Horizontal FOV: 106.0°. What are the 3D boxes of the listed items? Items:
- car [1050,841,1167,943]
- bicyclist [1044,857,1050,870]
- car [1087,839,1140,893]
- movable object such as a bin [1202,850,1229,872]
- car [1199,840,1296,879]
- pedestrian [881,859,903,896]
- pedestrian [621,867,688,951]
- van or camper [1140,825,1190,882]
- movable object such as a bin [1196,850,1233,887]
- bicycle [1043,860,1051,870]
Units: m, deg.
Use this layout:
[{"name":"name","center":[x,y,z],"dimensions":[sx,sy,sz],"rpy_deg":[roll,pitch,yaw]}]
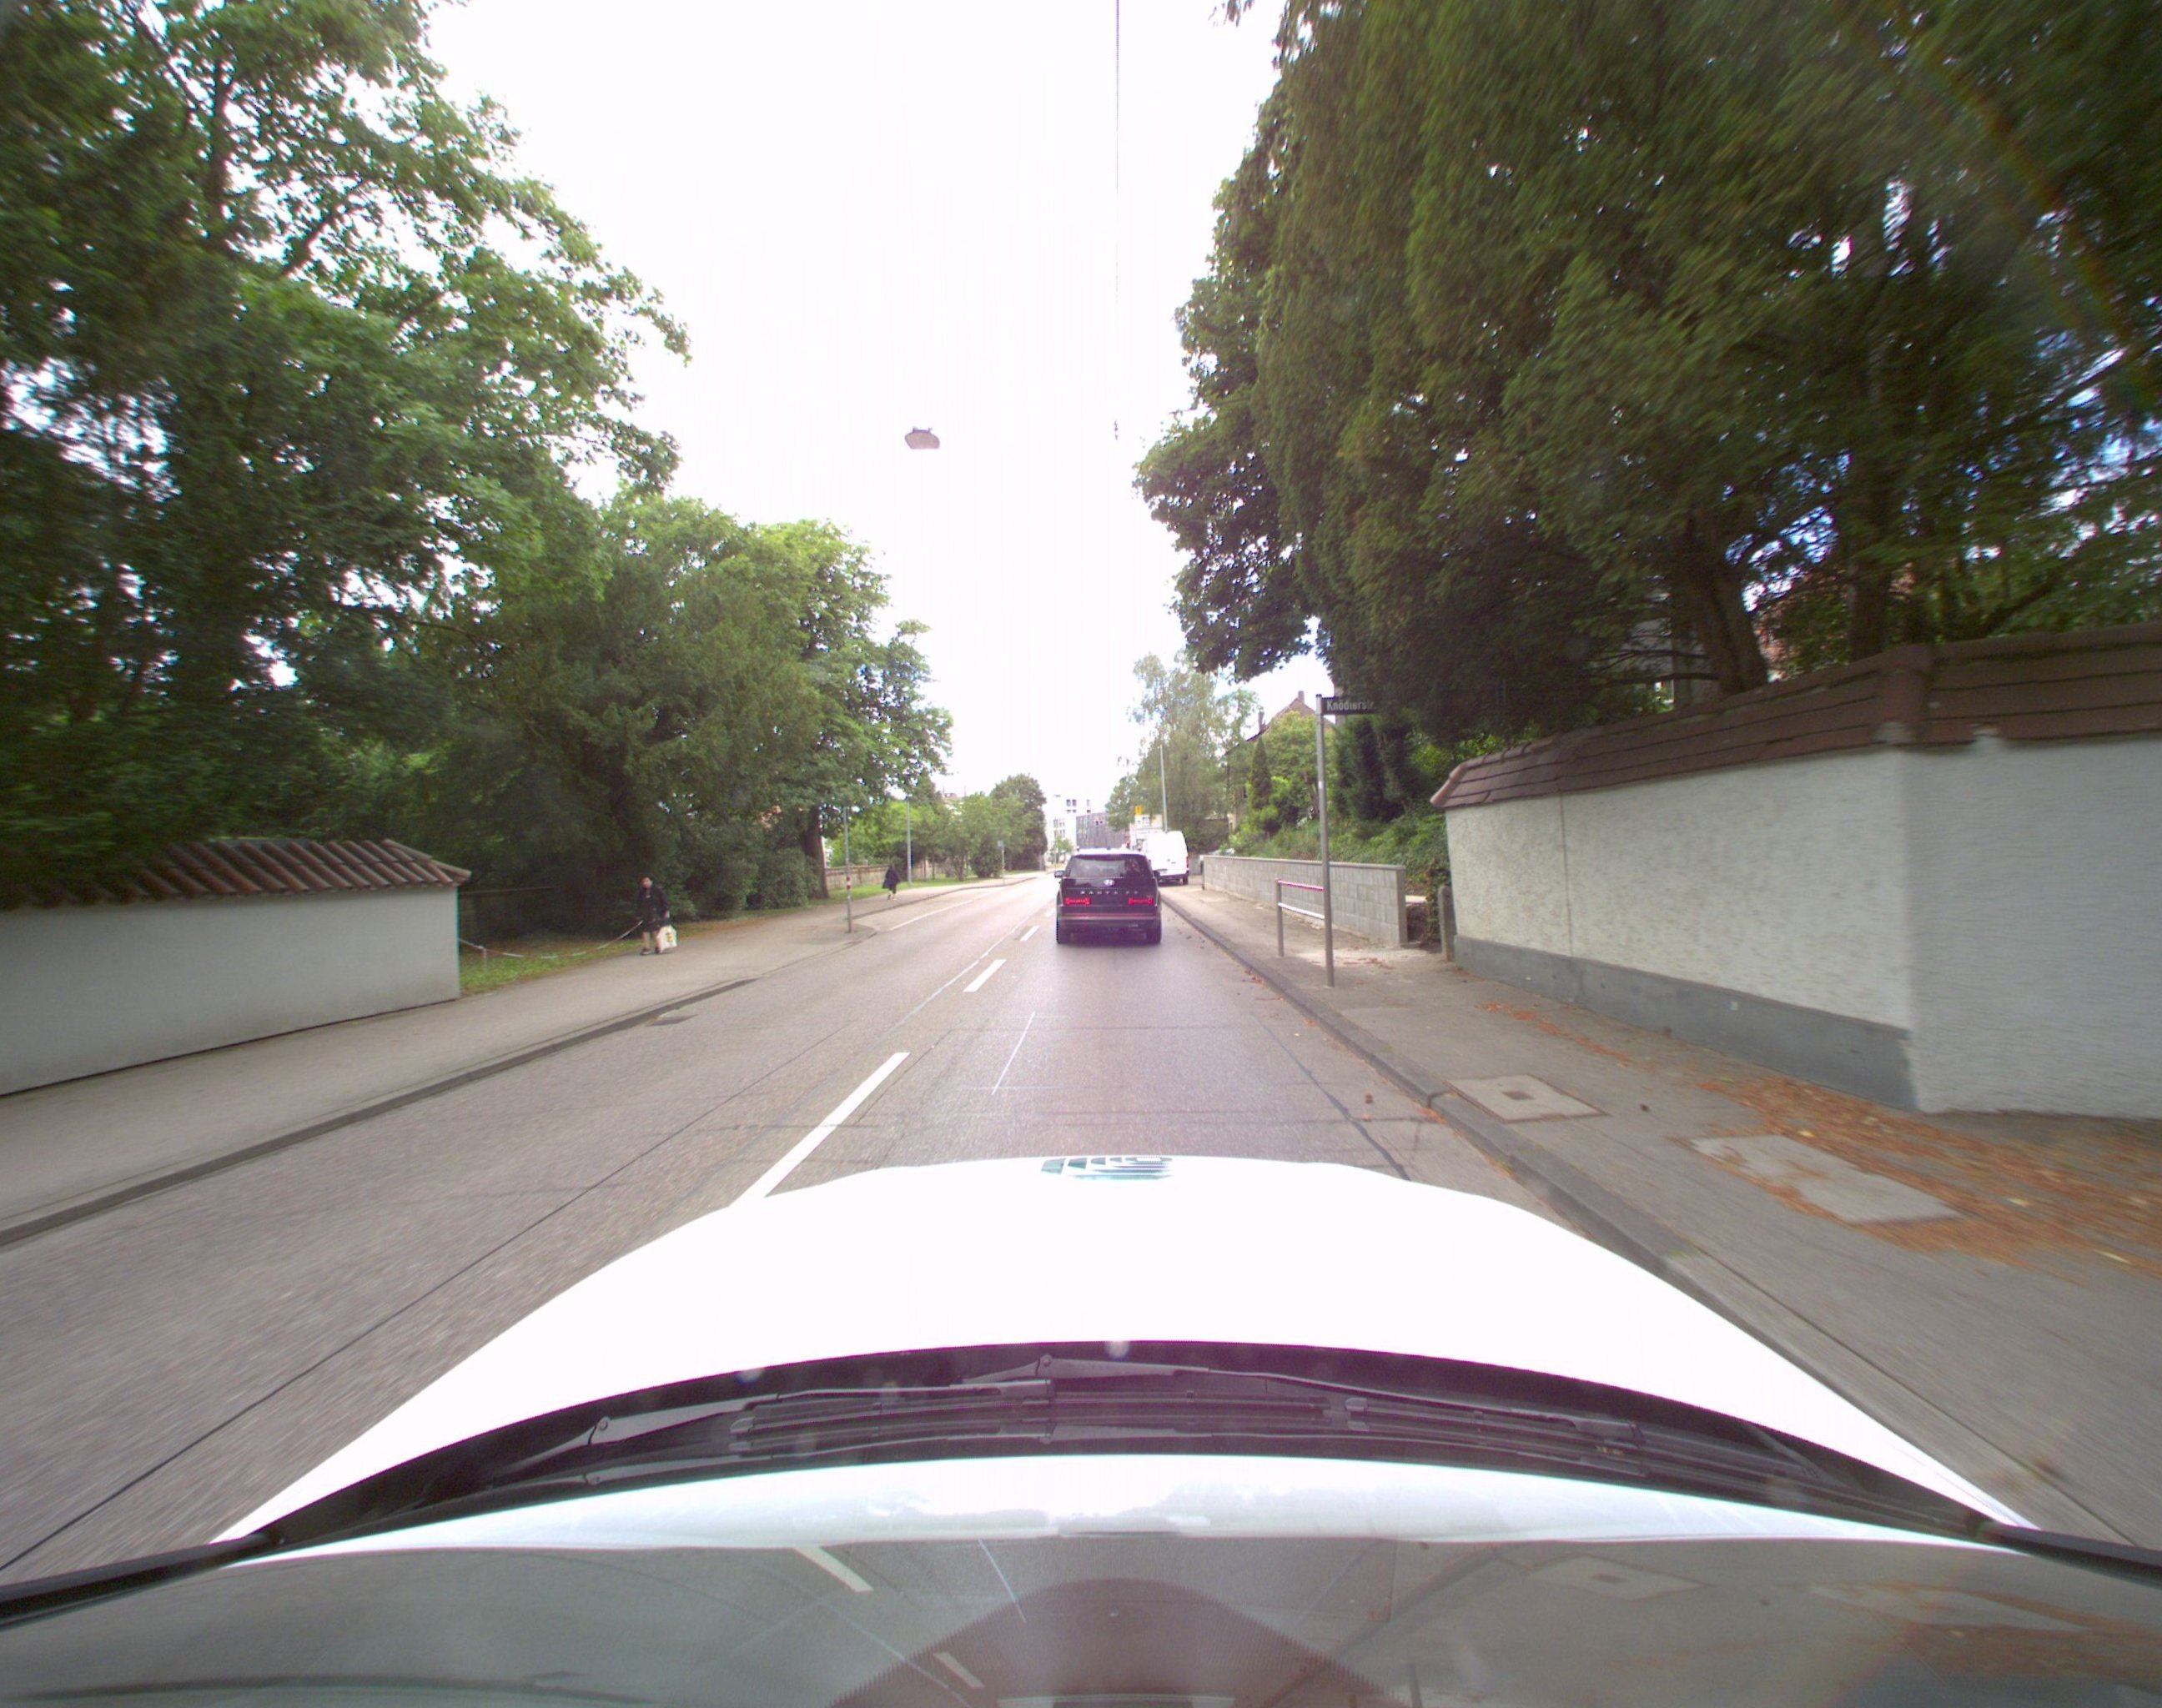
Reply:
[{"name":"car","center":[0.538,0.647,15.794],"dimensions":[1.956,1.711,4.002],"rpy_deg":[-1,0,2]},{"name":"bicyclist","center":[-4.387,1.221,104.310],"dimensions":[0.675,1.659,0.855],"rpy_deg":[0,-2,-12]},{"name":"car","center":[1.277,0.469,32.692],"dimensions":[1.956,2.001,4.001],"rpy_deg":[-1,0,1]},{"name":"movable object such as a bin","center":[9.108,0.492,55.330],"dimensions":[1.446,1.473,1.715],"rpy_deg":[-1,0,-4]},{"name":"car","center":[8.021,0.248,39.569],"dimensions":[4.376,1.652,1.831],"rpy_deg":[-3,0,3]},{"name":"pedestrian","center":[-8.363,1.033,36.079],"dimensions":[0.747,1.578,0.966],"rpy_deg":[0,0,-2]},{"name":"pedestrian","center":[-8.269,1.050,15.841],"dimensions":[0.926,1.560,0.899],"rpy_deg":[0,0,-11]},{"name":"van or camper","center":[4.277,-0.006,42.411],"dimensions":[1.957,2.628,6.360],"rpy_deg":[-4,0,1]},{"name":"movable object such as a bin","center":[5.497,0.581,33.501],"dimensions":[1.295,1.450,1.181],"rpy_deg":[-3,-1,2]},{"name":"bicycle","center":[-4.381,1.431,104.275],"dimensions":[0.675,1.279,2.490],"rpy_deg":[0,-2,-12]}]
